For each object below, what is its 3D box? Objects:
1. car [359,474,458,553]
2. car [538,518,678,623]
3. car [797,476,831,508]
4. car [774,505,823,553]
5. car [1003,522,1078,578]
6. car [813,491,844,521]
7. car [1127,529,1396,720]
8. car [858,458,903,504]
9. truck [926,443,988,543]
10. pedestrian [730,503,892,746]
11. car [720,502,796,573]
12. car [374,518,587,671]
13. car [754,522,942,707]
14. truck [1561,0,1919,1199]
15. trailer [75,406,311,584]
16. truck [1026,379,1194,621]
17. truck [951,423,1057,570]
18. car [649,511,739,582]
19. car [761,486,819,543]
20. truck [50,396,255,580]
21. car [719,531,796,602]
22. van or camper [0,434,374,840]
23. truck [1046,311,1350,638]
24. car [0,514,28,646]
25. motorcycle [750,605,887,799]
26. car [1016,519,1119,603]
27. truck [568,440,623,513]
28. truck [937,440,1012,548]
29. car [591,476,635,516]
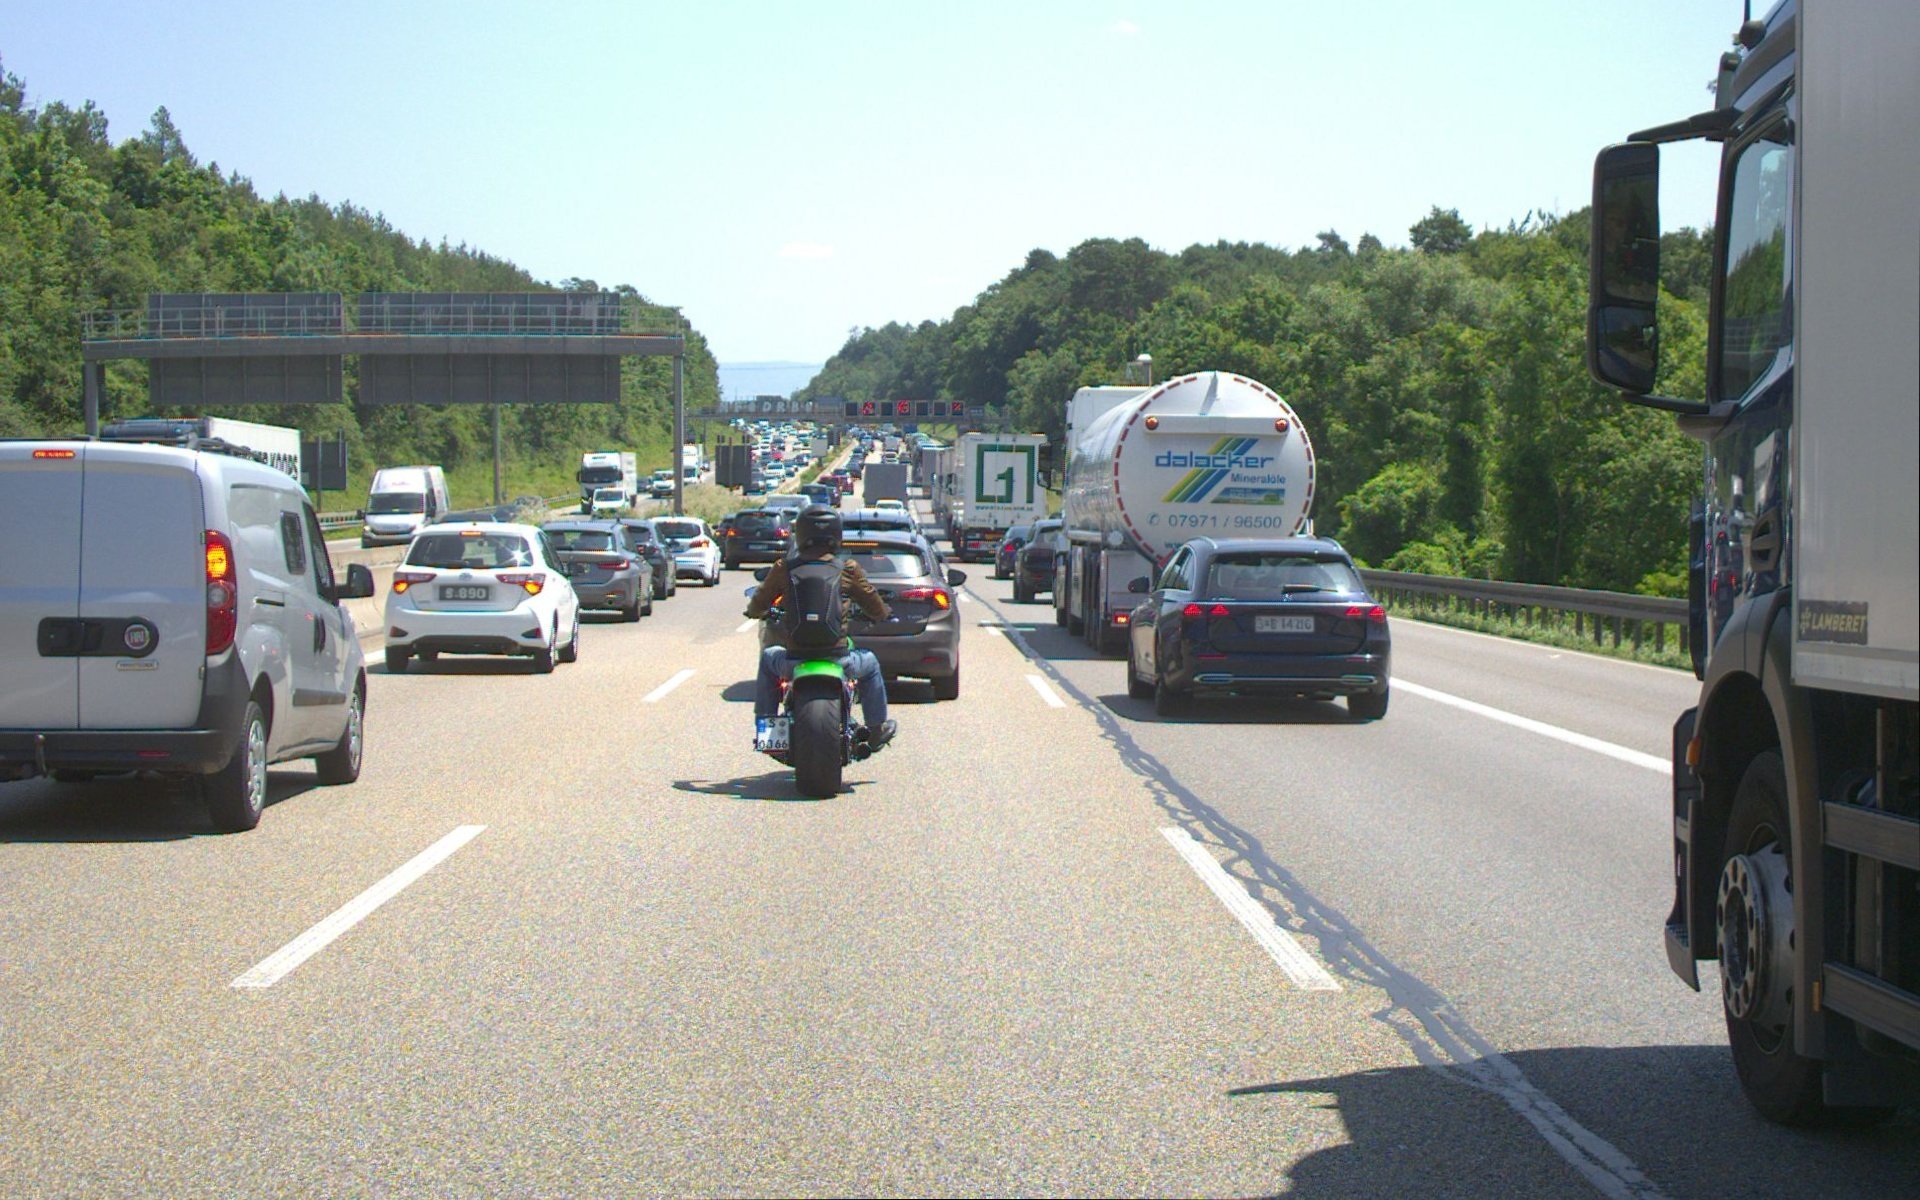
[{"bbox_3d":[-17.073,-2.680,106.726,1.993,2.369,7.365,0,1,-1],"label":"car"},{"bbox_3d":[-5.145,-0.463,50.647,1.699,1.473,4.000,0,1,-1],"label":"car"},{"bbox_3d":[-9.136,-6.743,214.983,1.993,2.007,4.000,0,1,-1],"label":"car"},{"bbox_3d":[-7.199,-3.168,153.943,1.993,2.007,4.000,-2,1,-1],"label":"car"},{"bbox_3d":[2.053,-1.303,88.634,1.787,1.370,3.804,0,1,-1],"label":"car"},{"bbox_3d":[-8.970,-6.423,234.830,1.993,2.007,4.000,0,1,-1],"label":"car"},{"bbox_3d":[2.460,0.150,28.927,1.828,1.465,4.000,0,1,-1],"label":"car"},{"bbox_3d":[-4.519,-6.802,196.317,2.504,2.578,5.017,0,1,-1],"label":"car"},{"bbox_3d":[-0.219,-5.635,181.616,3.033,5.121,9.983,1,1,-1],"label":"truck"},{"bbox_3d":[-0.861,0.132,20.106,0.849,1.357,0.961,-2,1,0],"label":"pedestrian"},{"bbox_3d":[-5.435,-1.706,92.842,1.880,1.853,4.000,0,1,-1],"label":"car"},{"bbox_3d":[-4.901,-0.102,35.603,1.699,1.473,4.000,0,1,-1],"label":"car"},{"bbox_3d":[-1.008,0.083,31.137,1.532,1.504,4.000,-2,1,-2],"label":"car"},{"bbox_3d":[3.240,-0.619,5.388,2.688,3.863,9.781,-3,1,-1],"label":"truck"},{"bbox_3d":[-21.344,-2.824,96.711,3.724,4.512,13.332,-2,1,-1],"label":"trailer"},{"bbox_3d":[2.262,-1.508,53.263,1.993,3.510,4.752,-2,1,-3],"label":"truck"},{"bbox_3d":[1.349,-3.330,111.438,3.033,4.527,9.983,1,1,-1],"label":"truck"},{"bbox_3d":[-5.702,-1.178,74.123,1.699,1.473,4.000,0,1,-1],"label":"car"},{"bbox_3d":[-6.418,-3.208,129.999,1.929,2.007,4.000,-2,1,0],"label":"car"},{"bbox_3d":[-21.219,-2.881,90.810,3.724,4.512,7.327,-2,1,-2],"label":"truck"},{"bbox_3d":[-5.989,-0.992,102.061,1.993,2.007,4.000,-2,1,0],"label":"car"},{"bbox_3d":[-4.289,0.150,18.069,1.796,1.886,4.160,0,1,-1],"label":"van or camper"},{"bbox_3d":[2.862,-1.491,44.290,2.988,3.659,9.288,-2,1,-1],"label":"truck"},{"bbox_3d":[-12.596,-0.206,41.603,1.642,1.621,3.543,-2,1,-1],"label":"car"},{"bbox_3d":[-0.798,0.559,19.886,0.691,1.012,2.121,0,1,0],"label":"motorcycle"},{"bbox_3d":[2.041,-0.776,65.970,1.787,1.550,3.804,0,1,-1],"label":"car"},{"bbox_3d":[-24.300,-8.210,229.648,2.765,4.724,10.473,0,1,-1],"label":"truck"},{"bbox_3d":[0.578,-4.623,151.051,3.033,4.527,9.983,1,1,-1],"label":"truck"},{"bbox_3d":[-19.029,-5.716,188.685,1.880,2.007,4.469,-3,1,-1],"label":"car"}]
